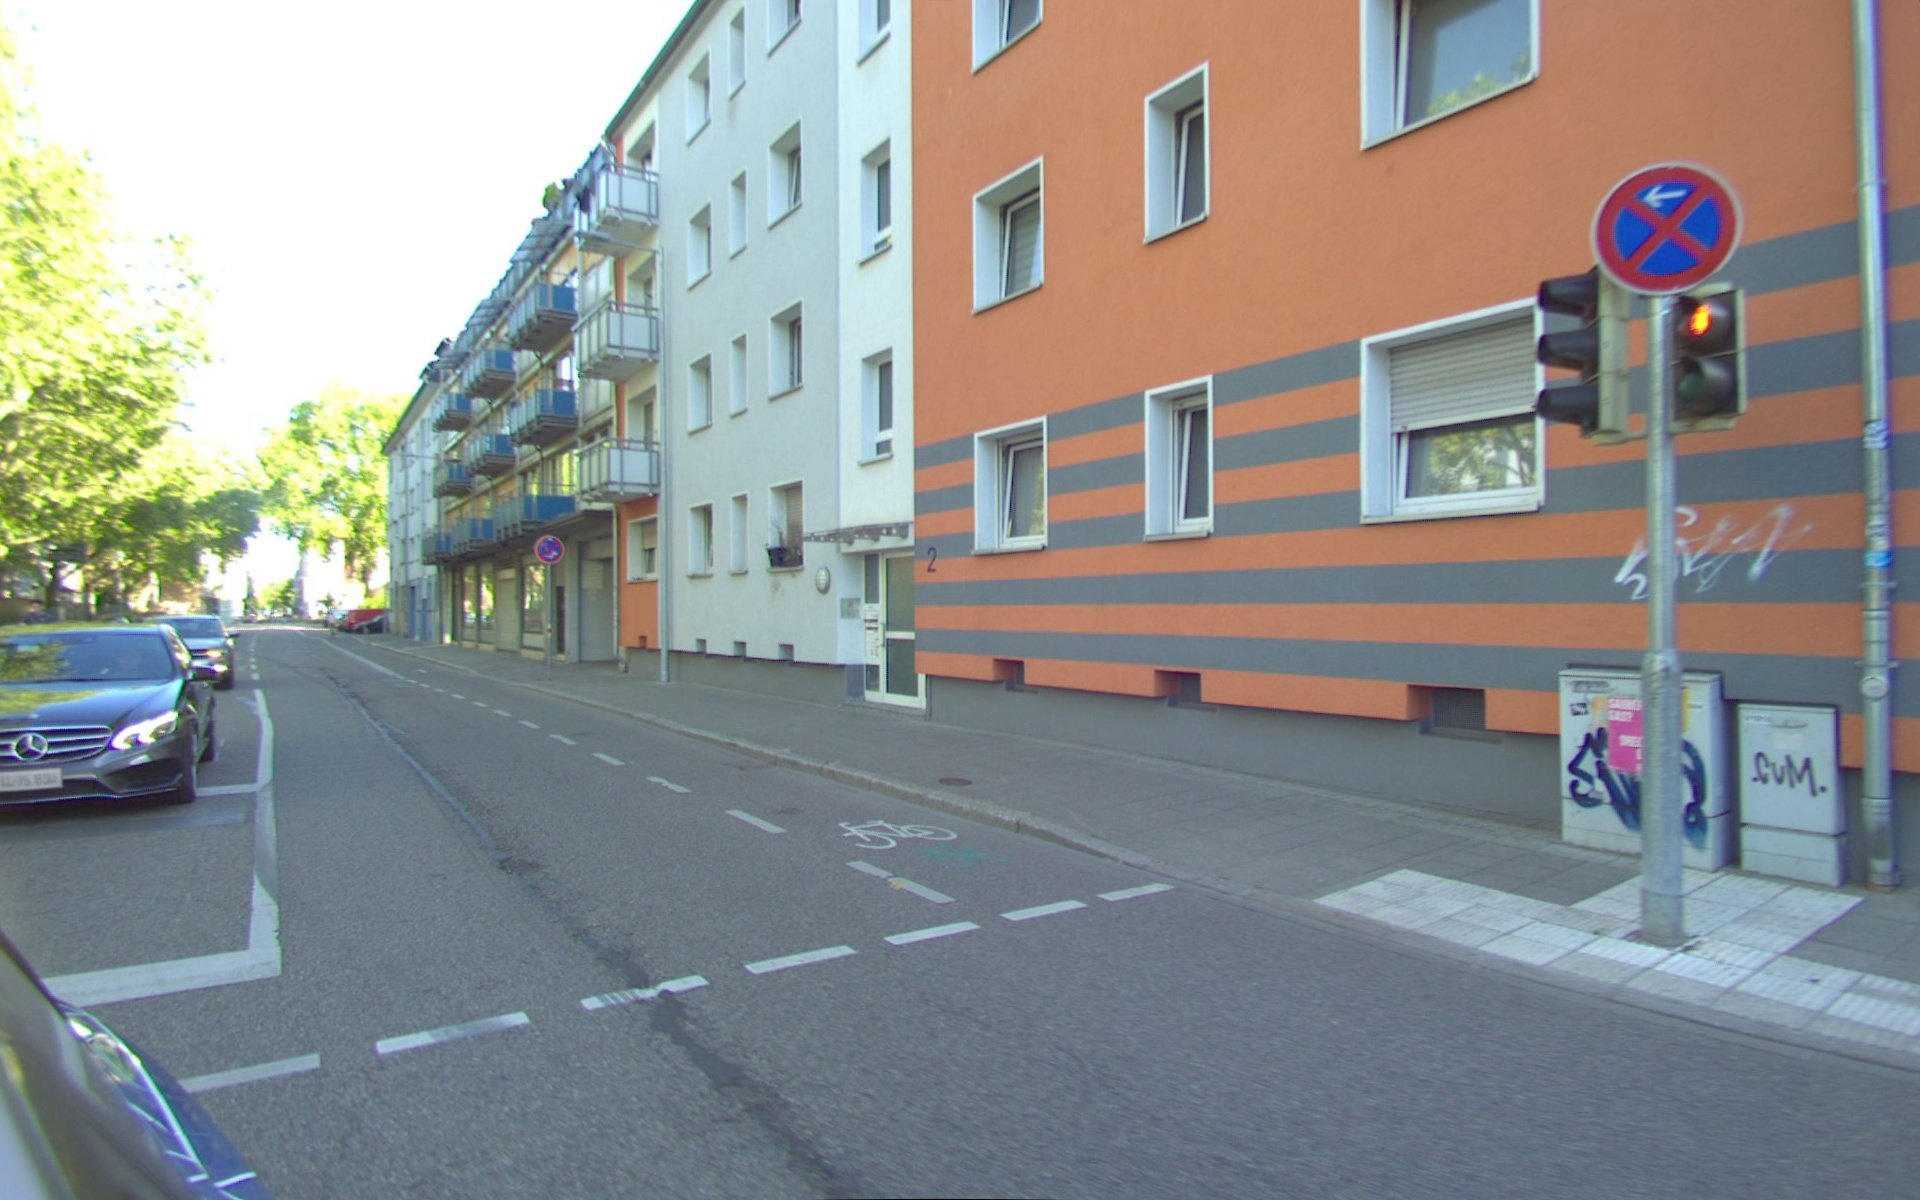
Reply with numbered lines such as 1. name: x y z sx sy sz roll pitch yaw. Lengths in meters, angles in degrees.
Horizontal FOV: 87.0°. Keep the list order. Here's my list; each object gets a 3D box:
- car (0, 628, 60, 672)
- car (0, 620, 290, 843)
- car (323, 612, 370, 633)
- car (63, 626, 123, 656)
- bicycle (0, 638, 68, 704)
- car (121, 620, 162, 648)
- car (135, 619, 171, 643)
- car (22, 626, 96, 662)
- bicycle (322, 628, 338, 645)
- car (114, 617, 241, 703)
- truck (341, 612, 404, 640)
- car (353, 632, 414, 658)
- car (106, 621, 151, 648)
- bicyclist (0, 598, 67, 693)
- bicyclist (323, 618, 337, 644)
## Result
1. car: -33.266 1.728 35.713 1.868 1.454 4.086 0 -1 -36
2. car: -7.540 0.947 9.072 1.769 1.479 4.735 0 -1 -24
3. car: -62.646 2.287 103.321 3.935 2.029 2.004 0 -1 -37
4. car: -44.421 2.062 51.901 1.868 1.462 4.087 0 -1 -34
5. bicycle: -18.302 1.360 19.969 0.758 1.144 2.822 -2 0 -36
6. car: -56.892 2.307 70.393 1.868 1.865 4.087 0 -1 -34
7. car: -63.254 2.438 79.389 1.868 1.832 4.087 0 -1 -34
8. car: -39.162 1.883 44.094 1.868 1.462 4.087 0 -1 -34
9. bicycle: -40.959 2.352 65.773 0.681 0.993 2.638 -1 0 -36
10. car: -16.507 1.191 21.520 1.719 1.616 4.012 0 -1 -32
11. truck: -47.972 2.101 82.657 4.335 2.174 1.882 0 -1 -37
12. car: -44.700 3.467 78.455 3.934 1.849 1.835 0 -1 -37
13. car: -54.416 2.238 66.303 1.868 1.664 4.087 0 -1 -34
14. bicyclist: -18.365 0.882 19.997 0.759 1.744 0.903 -10 5 -36
15. bicyclist: -40.983 2.012 65.812 0.681 1.643 0.760 -1 0 -36
